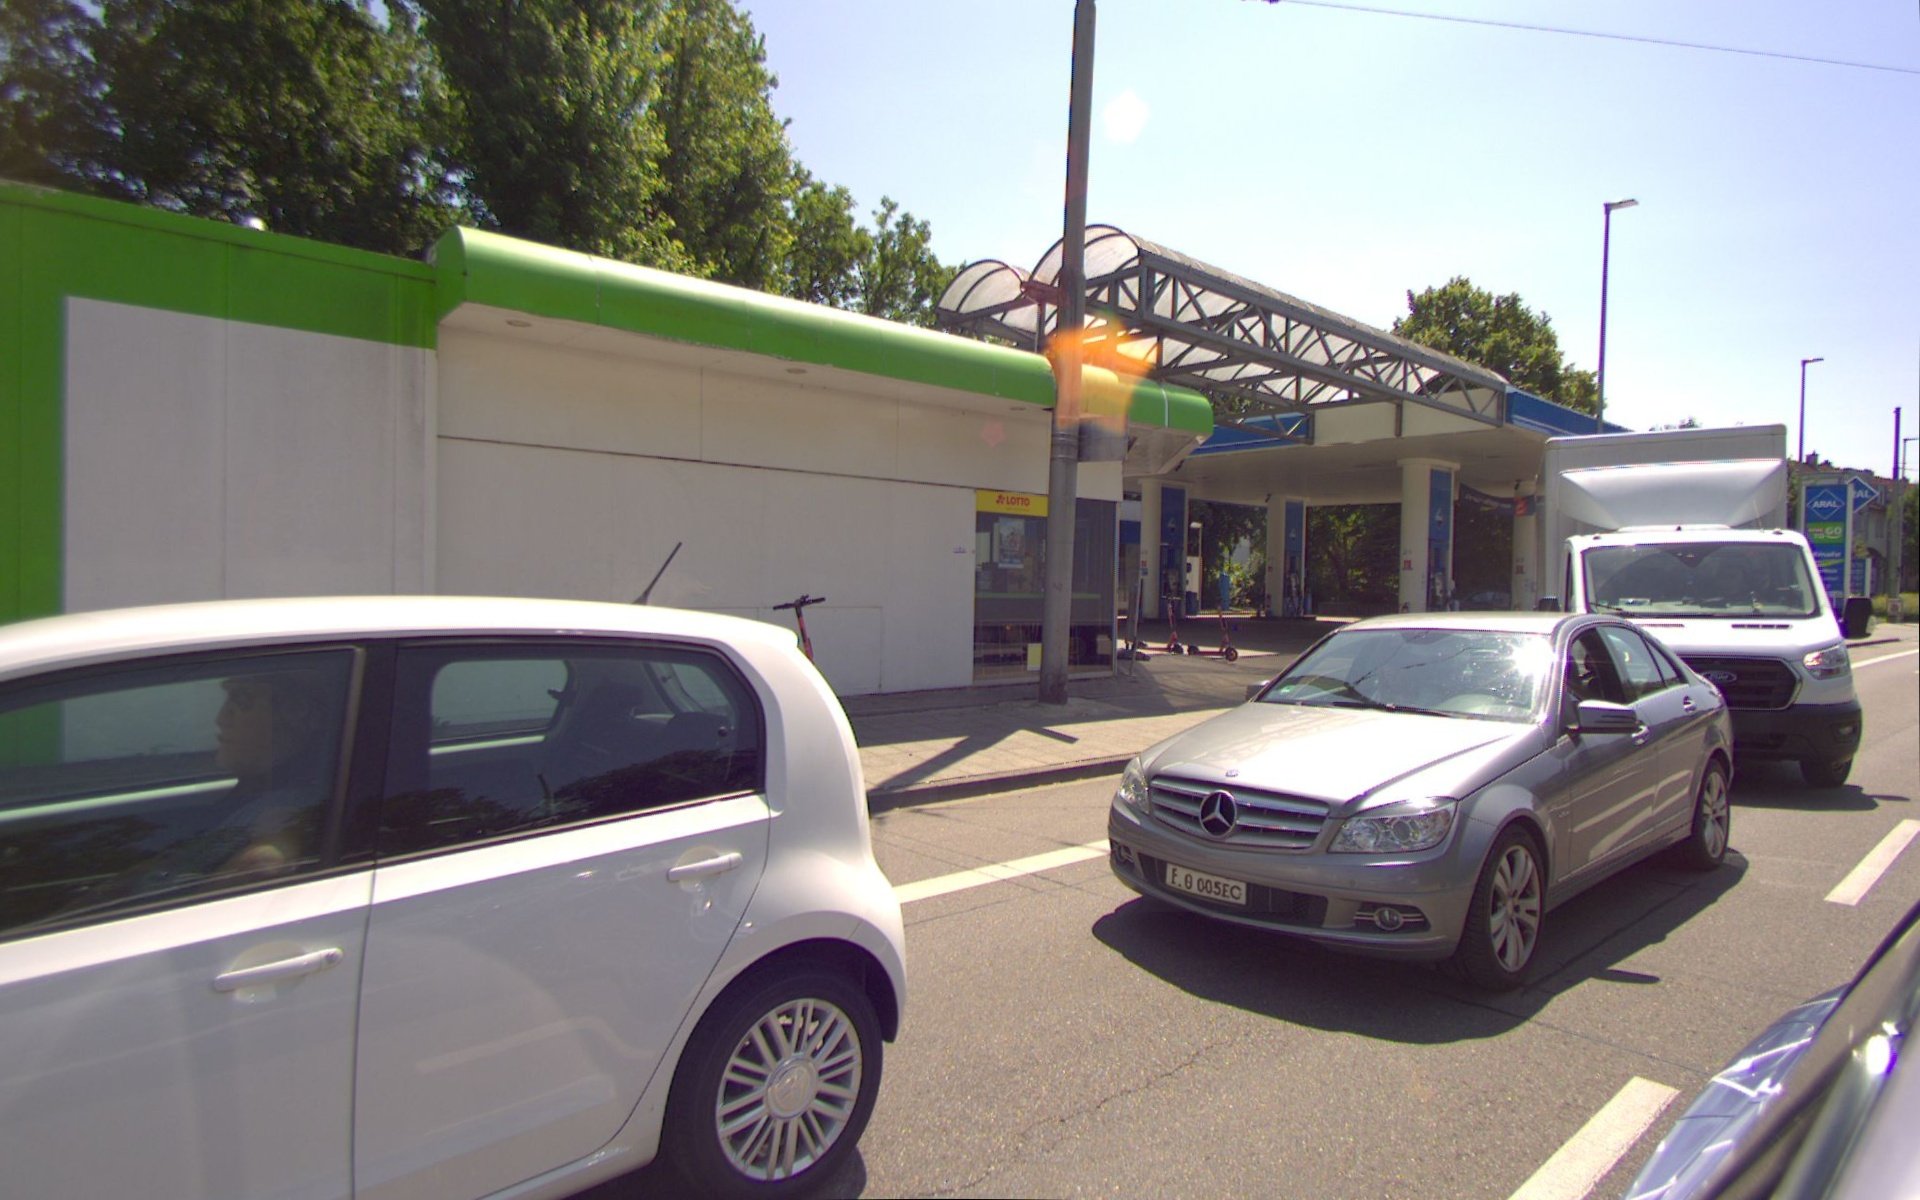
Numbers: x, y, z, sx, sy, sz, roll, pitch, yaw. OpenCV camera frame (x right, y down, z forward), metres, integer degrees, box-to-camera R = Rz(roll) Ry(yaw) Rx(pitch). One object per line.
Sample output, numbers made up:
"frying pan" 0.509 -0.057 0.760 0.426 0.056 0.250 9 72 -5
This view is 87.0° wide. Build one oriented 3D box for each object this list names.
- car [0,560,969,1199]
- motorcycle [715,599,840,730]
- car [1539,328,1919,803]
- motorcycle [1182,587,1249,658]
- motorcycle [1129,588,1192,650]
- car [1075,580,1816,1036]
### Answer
"car" -1.778 0.671 2.280 3.374 1.466 1.612 1 0 -40
"motorcycle" -1.670 0.564 9.317 1.098 1.118 0.253 -1 7 -40
"car" 7.927 -0.267 11.487 2.211 3.378 8.546 -1 0 29
"motorcycle" 4.783 0.410 18.972 0.357 1.225 1.156 2 2 -41
"motorcycle" 3.929 0.369 19.898 0.389 1.127 1.156 2 2 -41
"car" 3.072 0.700 5.657 5.206 1.492 1.716 0 -1 -40
